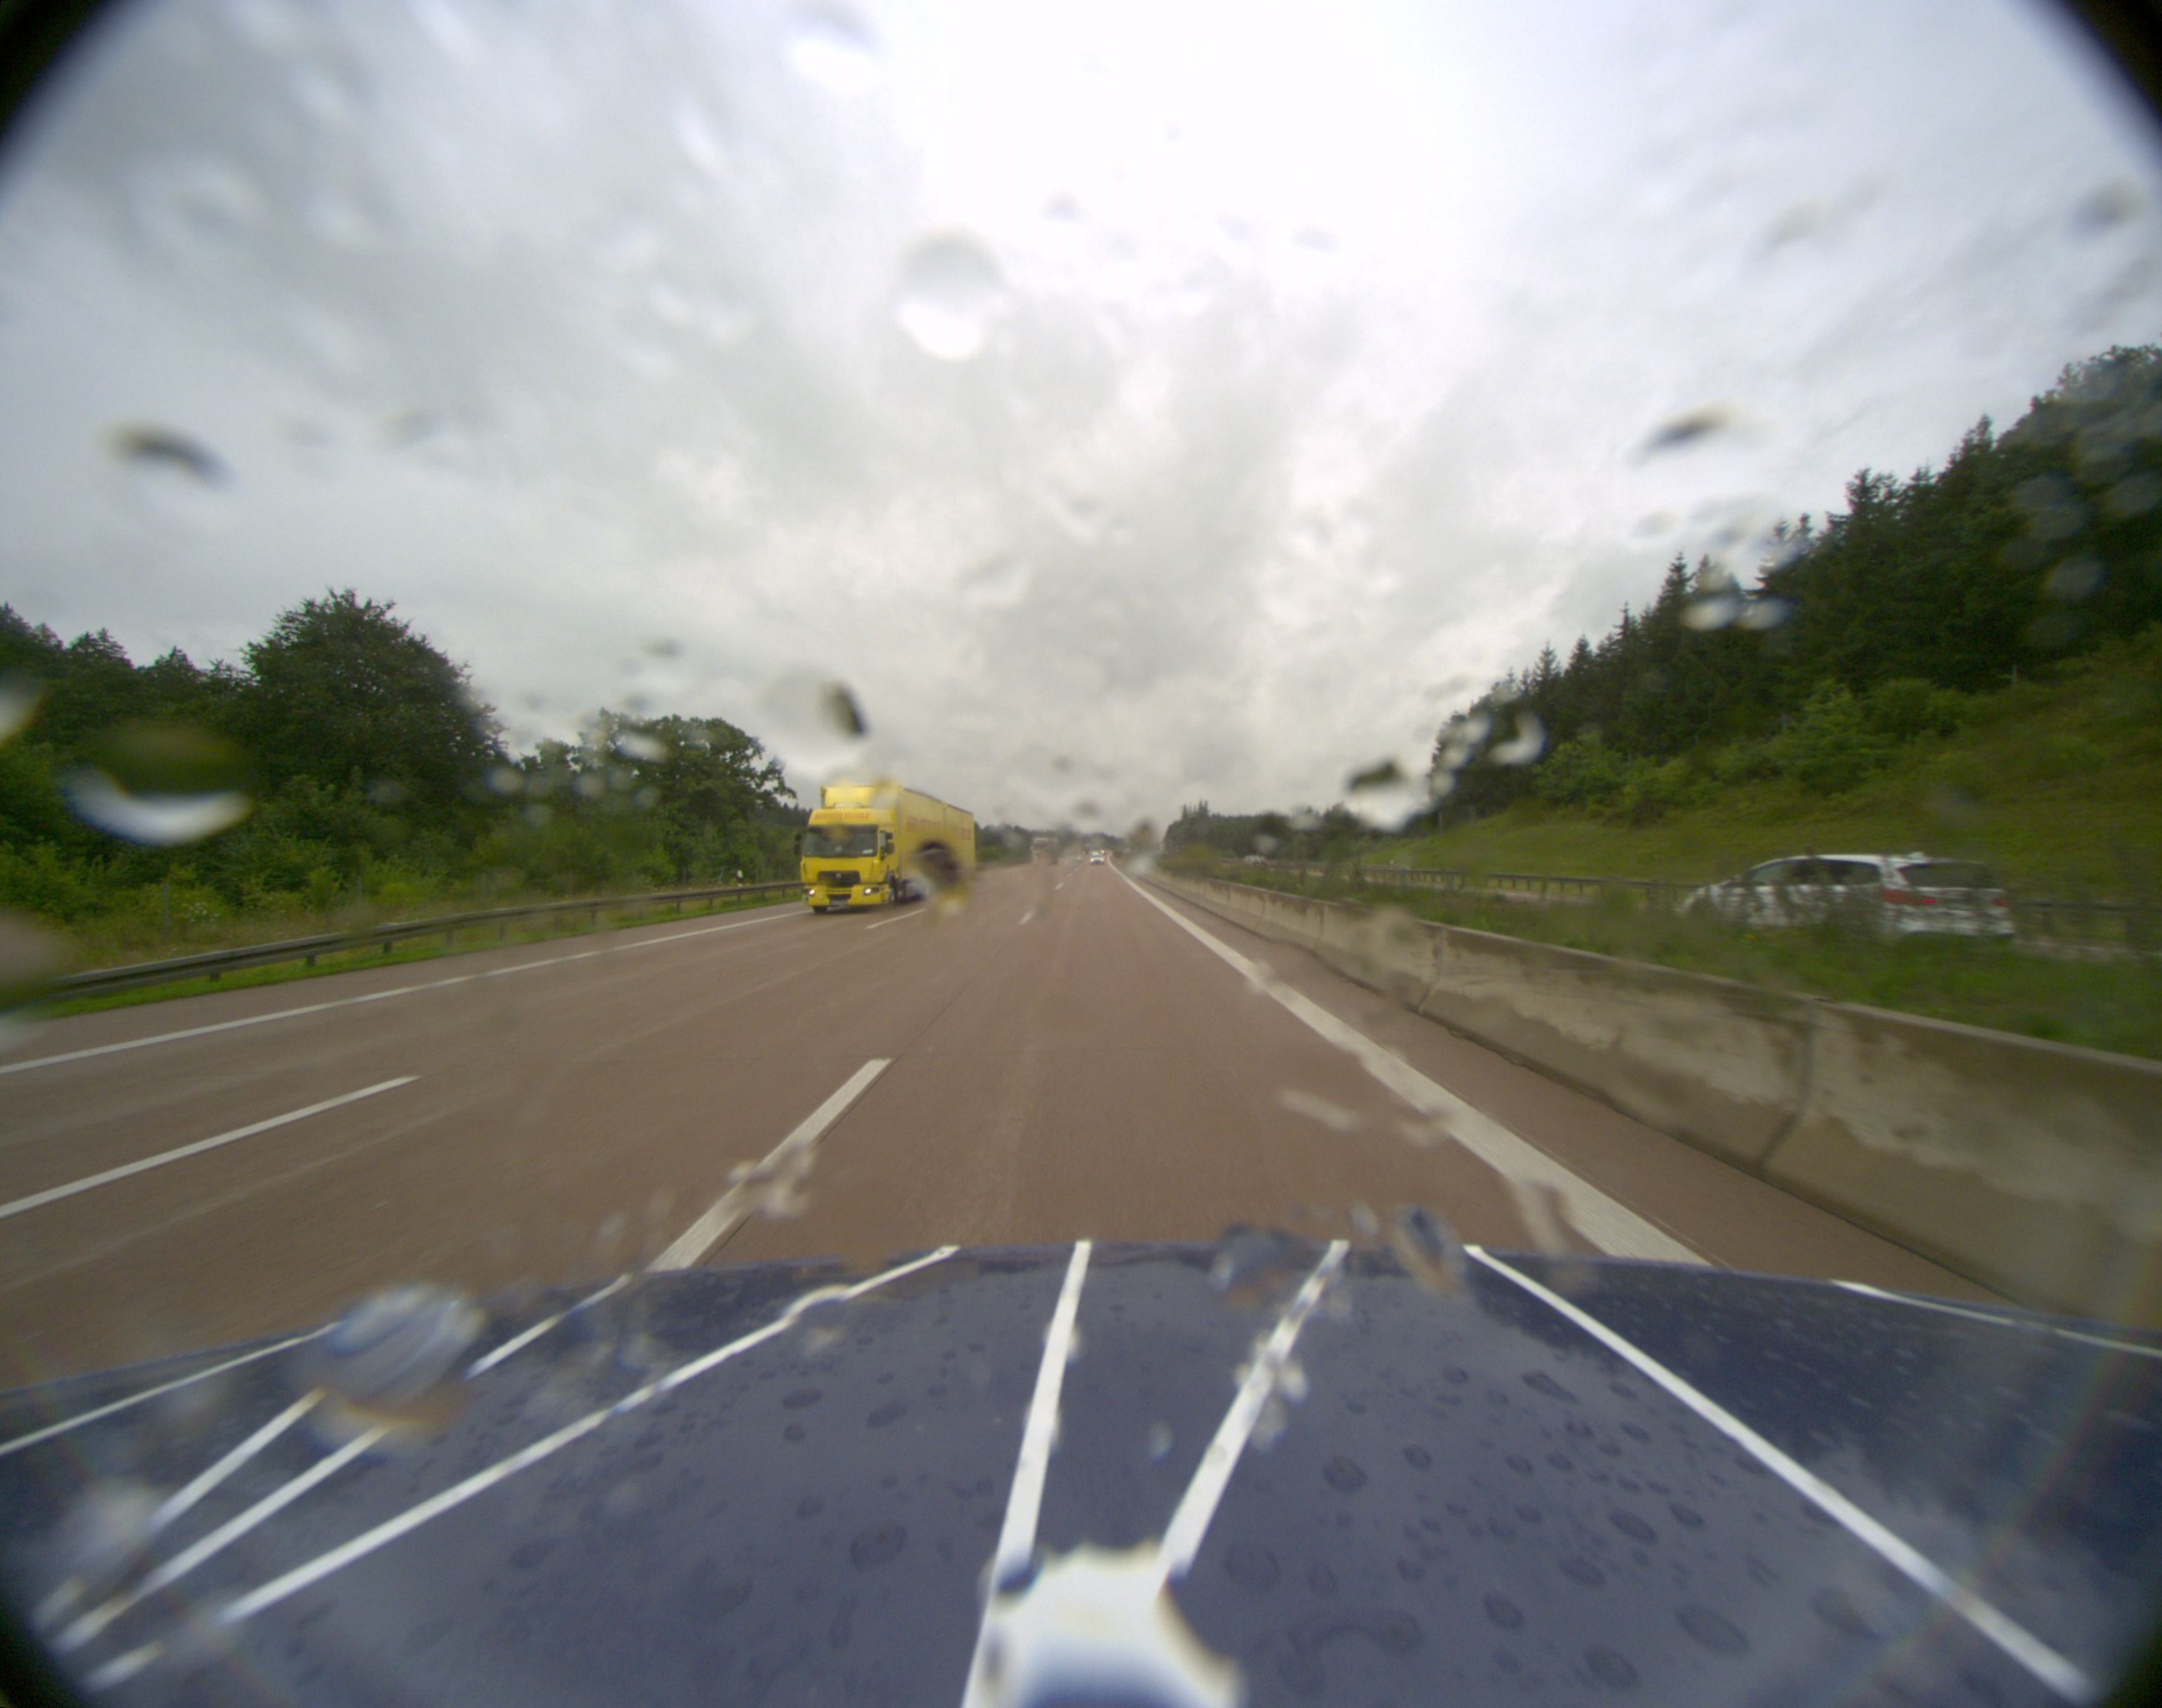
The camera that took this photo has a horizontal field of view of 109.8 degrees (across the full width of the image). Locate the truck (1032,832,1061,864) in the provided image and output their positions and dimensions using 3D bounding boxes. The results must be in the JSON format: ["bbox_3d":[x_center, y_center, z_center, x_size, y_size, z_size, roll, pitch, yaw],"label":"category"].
[{"bbox_3d":[-5.015,-0.932,114.208,3.190,4.349,14.702,-2,1,1],"label":"truck"}]

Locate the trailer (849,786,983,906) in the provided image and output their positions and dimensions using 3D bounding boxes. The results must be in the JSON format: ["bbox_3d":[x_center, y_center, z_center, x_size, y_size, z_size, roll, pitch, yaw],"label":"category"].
[{"bbox_3d":[-6.799,-0.384,34.190,2.572,4.204,14.078,-2,1,1],"label":"trailer"}]

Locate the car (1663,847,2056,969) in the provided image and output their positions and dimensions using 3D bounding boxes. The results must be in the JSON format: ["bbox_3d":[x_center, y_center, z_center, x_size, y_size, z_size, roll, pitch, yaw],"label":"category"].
[{"bbox_3d":[13.001,0.752,13.318,1.818,1.713,4.951,0,1,1],"label":"car"}]

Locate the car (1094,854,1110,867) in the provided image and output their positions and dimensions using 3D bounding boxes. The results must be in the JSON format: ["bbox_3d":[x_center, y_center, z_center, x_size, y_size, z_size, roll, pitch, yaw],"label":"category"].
[{"bbox_3d":[2.813,0.880,101.718,1.998,1.623,4.931,-2,1,1],"label":"car"}]

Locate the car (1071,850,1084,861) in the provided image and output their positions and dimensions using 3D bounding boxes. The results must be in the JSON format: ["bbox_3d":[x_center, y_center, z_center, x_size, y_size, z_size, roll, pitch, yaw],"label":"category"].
[{"bbox_3d":[-0.493,0.189,126.439,1.998,1.623,4.931,-2,1,1],"label":"car"}]

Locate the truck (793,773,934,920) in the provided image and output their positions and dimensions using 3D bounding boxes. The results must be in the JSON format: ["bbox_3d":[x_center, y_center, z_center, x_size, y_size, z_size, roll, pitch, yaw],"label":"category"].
[{"bbox_3d":[-6.953,-0.264,25.264,2.610,4.190,6.249,-2,1,1],"label":"truck"}]

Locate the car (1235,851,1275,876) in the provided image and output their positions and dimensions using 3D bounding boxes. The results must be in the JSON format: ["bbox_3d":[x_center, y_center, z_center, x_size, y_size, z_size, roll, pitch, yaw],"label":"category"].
[{"bbox_3d":[12.729,0.665,55.736,1.998,1.710,4.259,-2,1,1],"label":"car"}]
